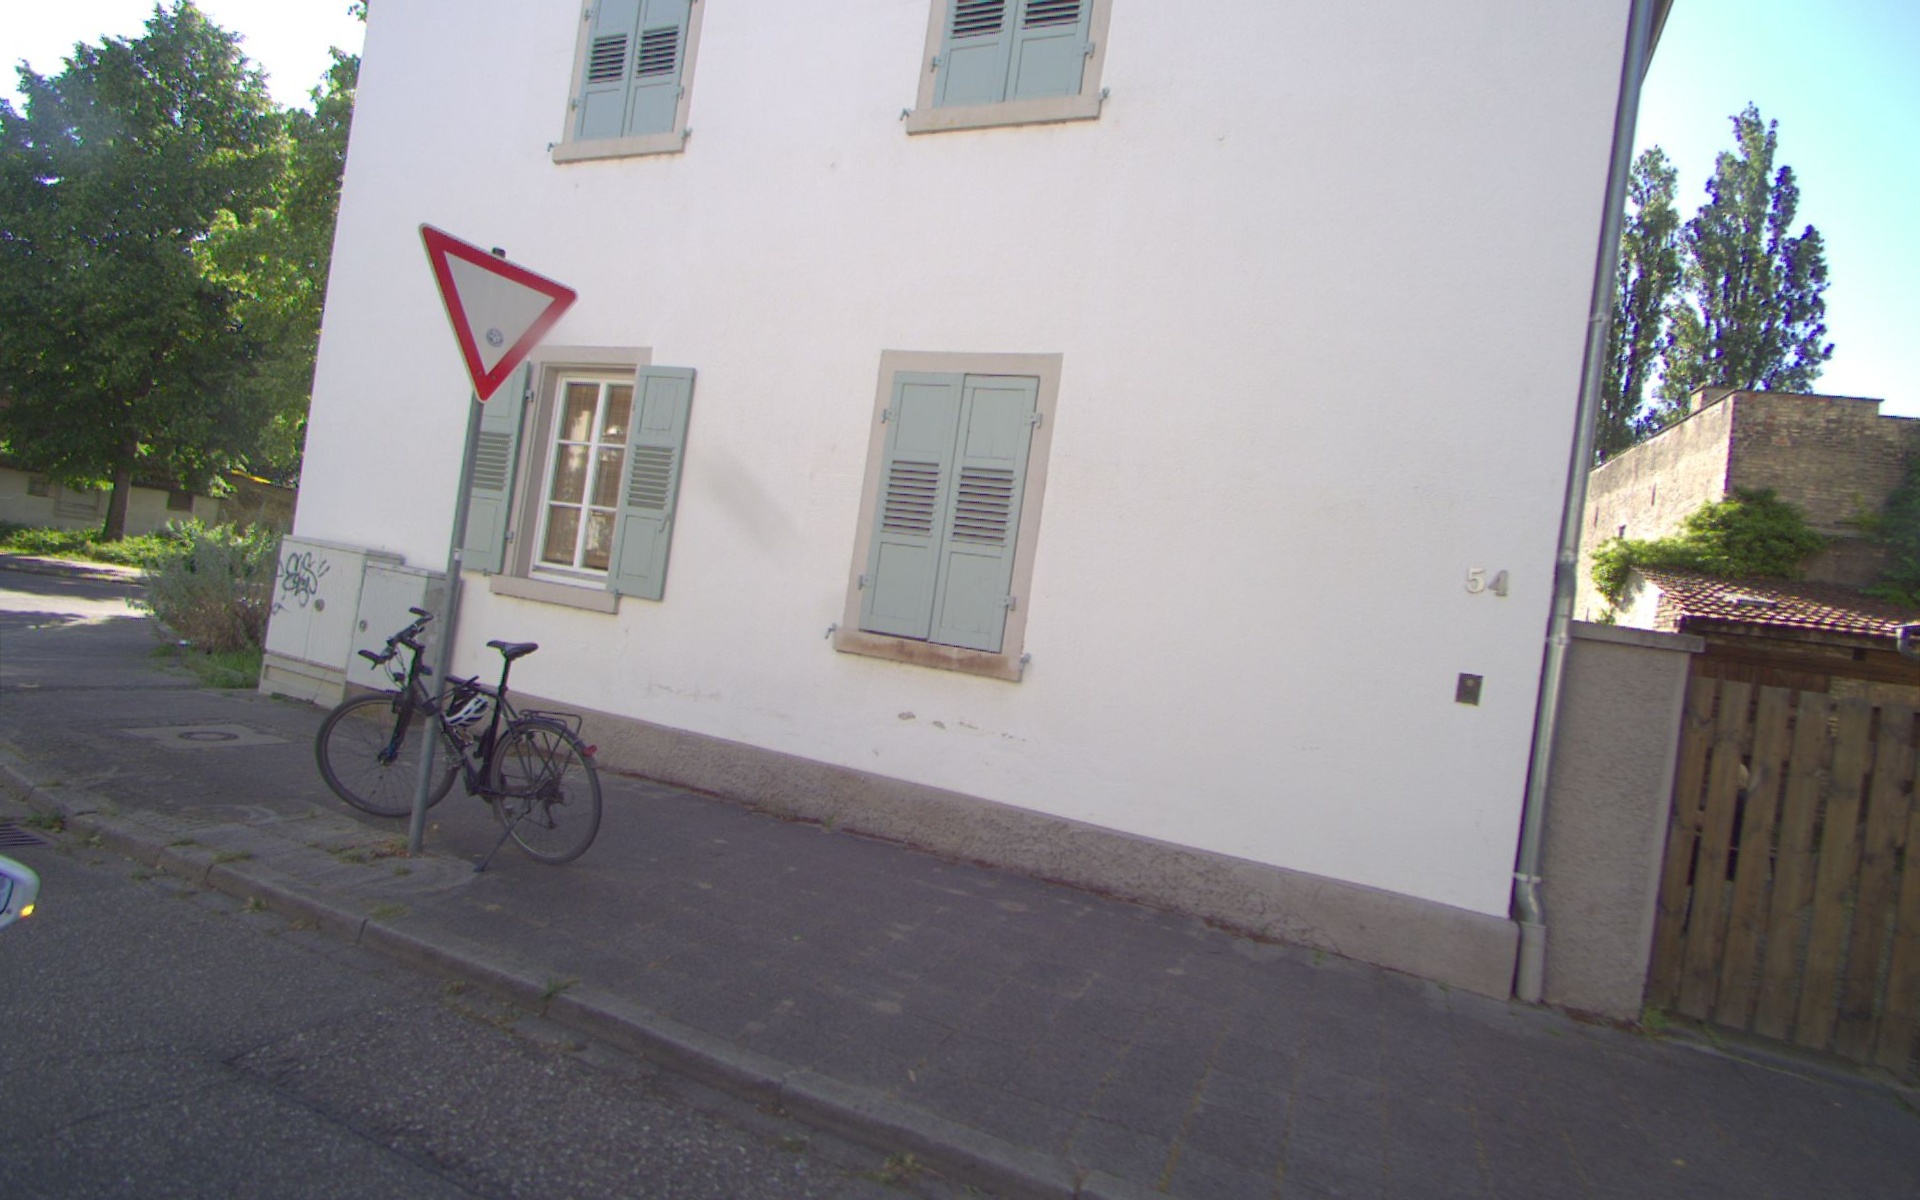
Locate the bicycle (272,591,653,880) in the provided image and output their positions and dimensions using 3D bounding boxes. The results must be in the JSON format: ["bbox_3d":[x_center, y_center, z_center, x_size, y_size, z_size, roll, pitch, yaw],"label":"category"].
[{"bbox_3d":[-2.529,0.628,5.080,1.854,1.093,0.436,8,0,18],"label":"bicycle"}]
